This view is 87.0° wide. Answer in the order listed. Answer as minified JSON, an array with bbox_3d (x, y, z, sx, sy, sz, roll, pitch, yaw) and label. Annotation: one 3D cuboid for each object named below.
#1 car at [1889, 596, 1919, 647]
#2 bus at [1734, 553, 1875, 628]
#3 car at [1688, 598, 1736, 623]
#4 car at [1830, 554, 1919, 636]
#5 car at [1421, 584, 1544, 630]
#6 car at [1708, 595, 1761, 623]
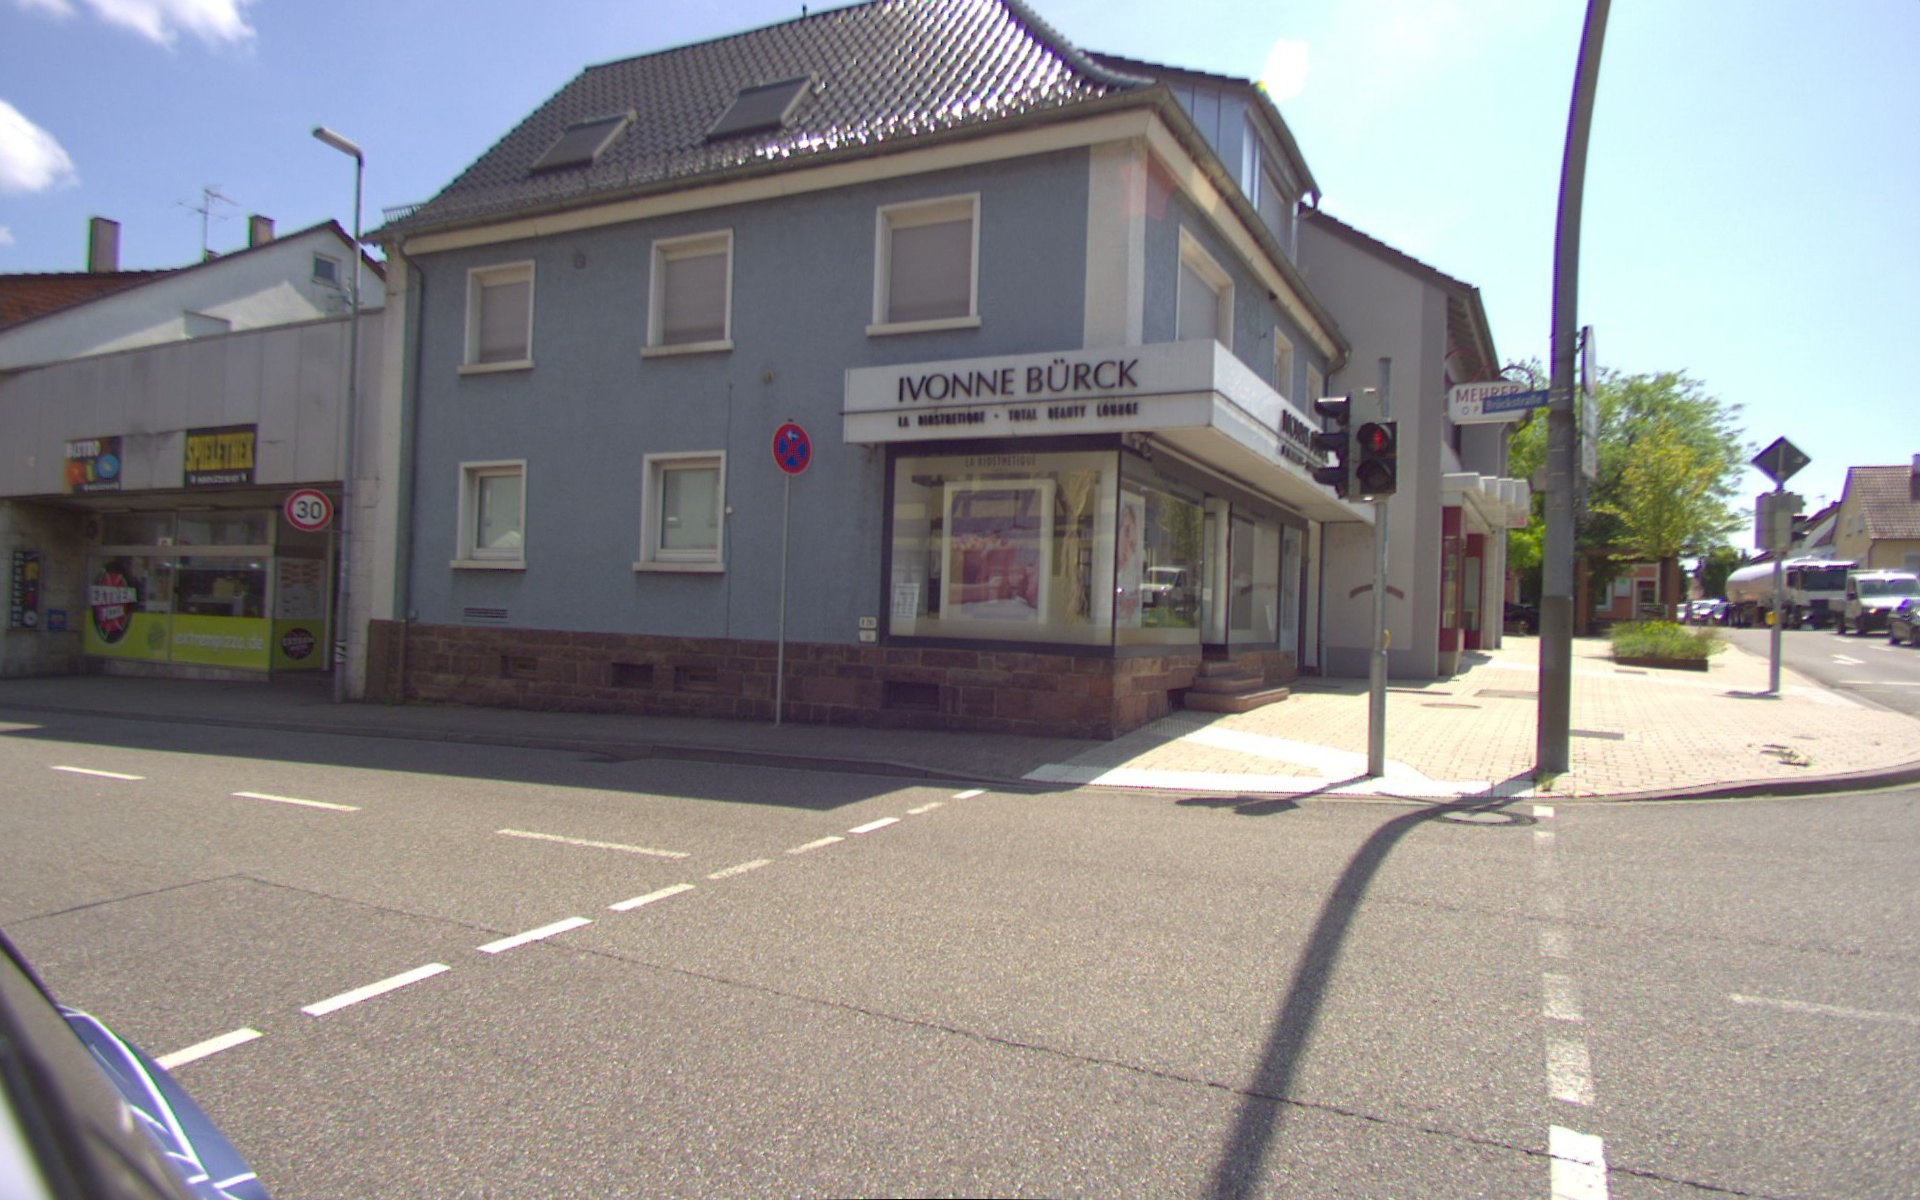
[{"bbox_3d":[29.285,0.619,29.924,1.857,1.490,3.958,-1,0,31],"label":"car"},{"bbox_3d":[40.870,-0.409,49.492,2.535,3.193,12.533,-1,0,27],"label":"bus"},{"bbox_3d":[51.067,0.713,68.781,1.991,1.648,3.961,-1,0,28],"label":"car"},{"bbox_3d":[34.793,-0.179,37.903,2.297,2.843,6.435,-1,0,32],"label":"car"},{"bbox_3d":[20.085,0.296,38.961,3.990,1.691,1.977,-1,-2,35],"label":"car"},{"bbox_3d":[47.775,0.550,62.514,1.992,1.648,3.961,-1,1,29],"label":"car"}]
